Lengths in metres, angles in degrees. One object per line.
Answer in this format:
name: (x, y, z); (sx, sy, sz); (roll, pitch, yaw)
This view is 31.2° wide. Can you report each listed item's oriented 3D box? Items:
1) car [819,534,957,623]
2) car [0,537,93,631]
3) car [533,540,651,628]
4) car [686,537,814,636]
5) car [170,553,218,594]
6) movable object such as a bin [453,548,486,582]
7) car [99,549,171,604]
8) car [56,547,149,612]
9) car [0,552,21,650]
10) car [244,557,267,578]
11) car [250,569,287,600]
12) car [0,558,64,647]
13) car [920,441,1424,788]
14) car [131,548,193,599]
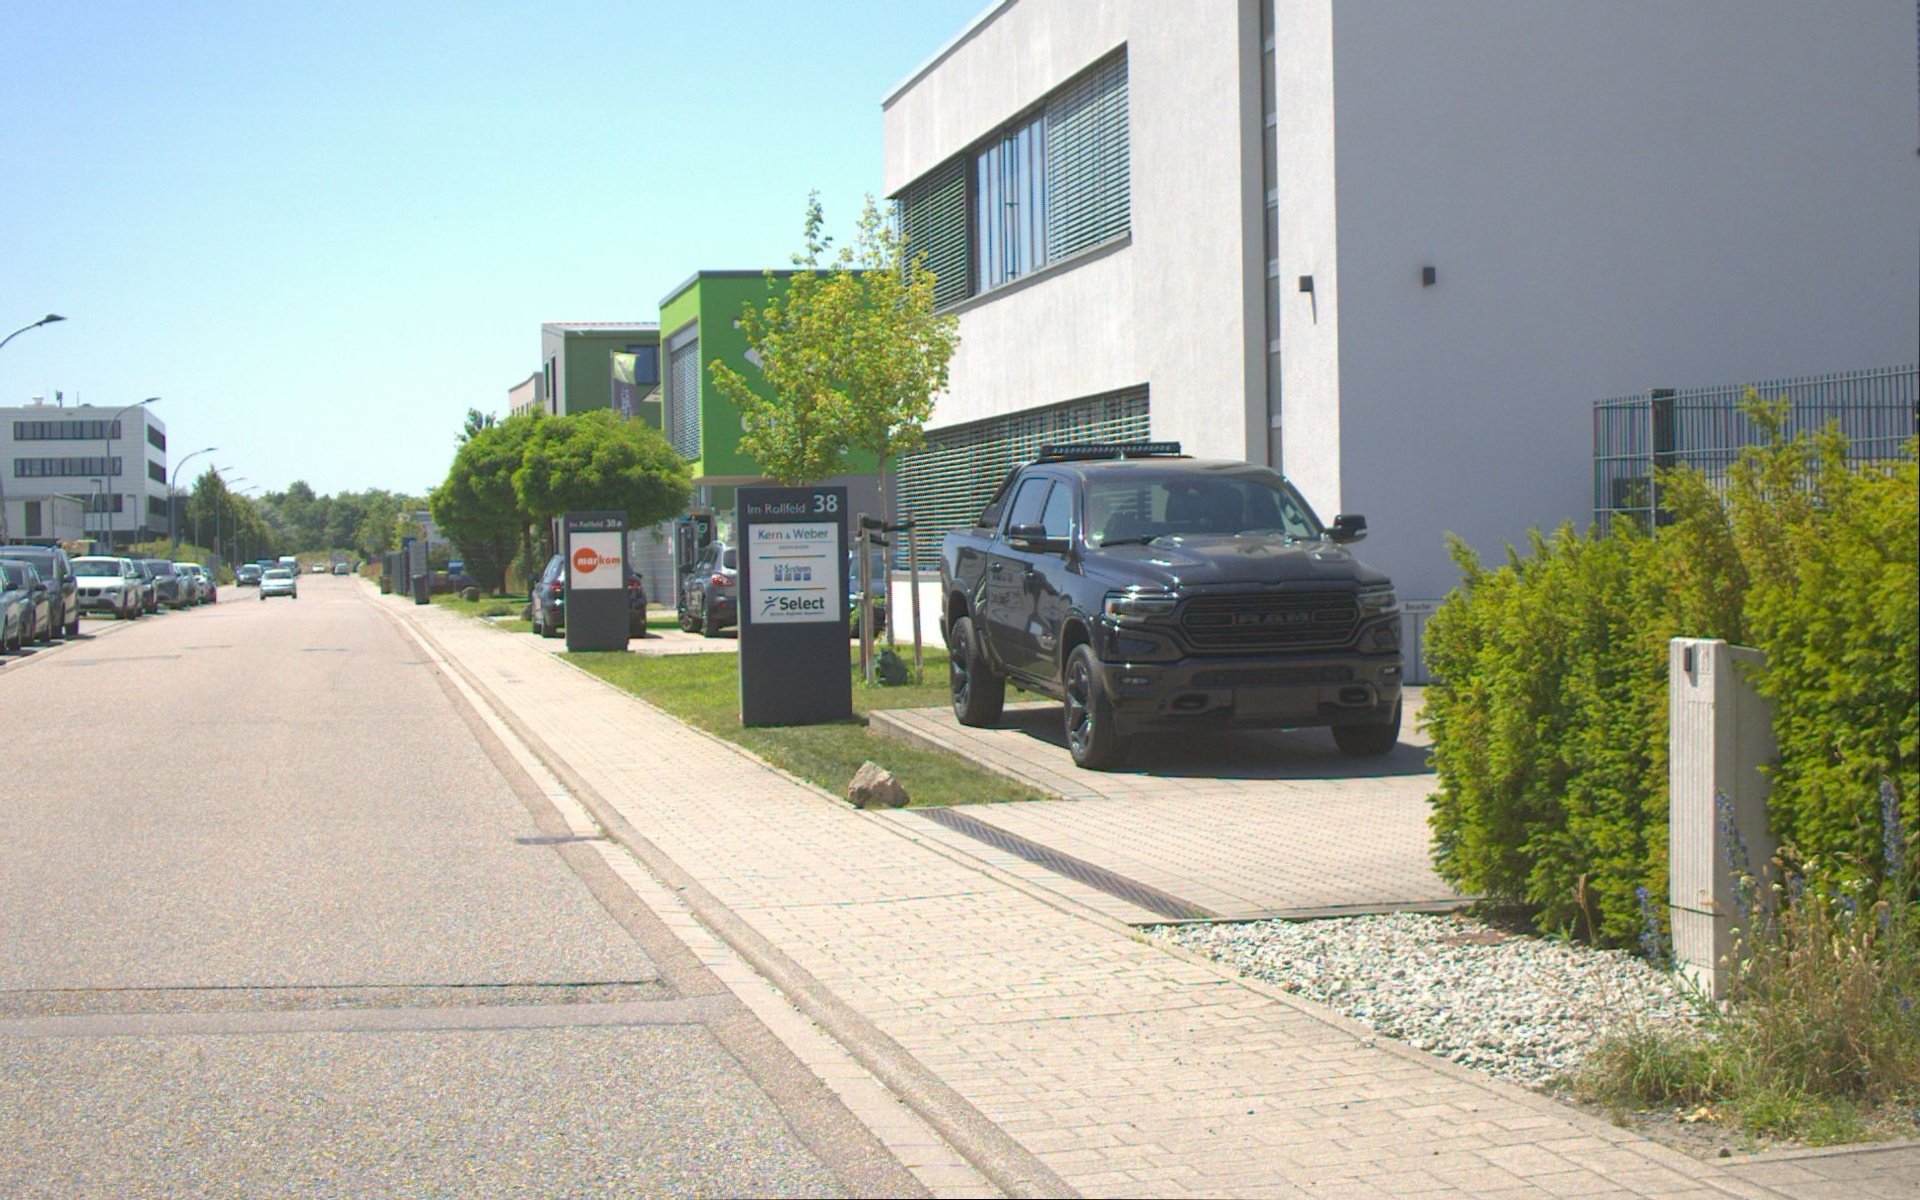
car: (-1.264, -0.394, 58.702); (1.722, 1.444, 4.023); (-1, 1, -10)
car: (-17.659, -0.328, 65.598); (1.802, 1.714, 4.623); (-1, 1, -10)
car: (-6.350, -0.308, 59.006); (1.692, 1.423, 4.247); (-1, 1, -10)
car: (-3.653, -0.261, 59.288); (1.722, 1.627, 4.023); (-1, 1, -10)
car: (-30.318, -1.058, 136.163); (1.768, 1.586, 4.361); (-1, 1, -11)
movable object such as a bin: (-21.951, -1.566, 153.797); (1.334, 1.454, 0.949); (-3, 1, -10)
car: (-23.530, -0.671, 98.177); (1.762, 1.512, 4.381); (-1, 1, -11)
car: (-21.298, -0.521, 85.518); (1.786, 1.537, 4.365); (-1, 1, -8)
car: (-16.242, -0.001, 55.833); (1.634, 1.531, 3.659); (-1, 1, -11)
car: (-49.195, -2.276, 240.140); (1.466, 1.484, 3.208); (-2, 1, -10)
car: (-33.876, -0.770, 168.439); (1.703, 1.406, 4.785); (-1, 1, -12)
car: (-16.856, 0.018, 60.664); (1.634, 1.495, 3.972); (-1, 1, -9)
car: (1.289, -0.049, 23.964); (1.993, 2.006, 5.802); (-3, 3, -12)
car: (-25.851, -0.855, 111.491); (1.790, 1.601, 4.464); (-1, 1, -11)
